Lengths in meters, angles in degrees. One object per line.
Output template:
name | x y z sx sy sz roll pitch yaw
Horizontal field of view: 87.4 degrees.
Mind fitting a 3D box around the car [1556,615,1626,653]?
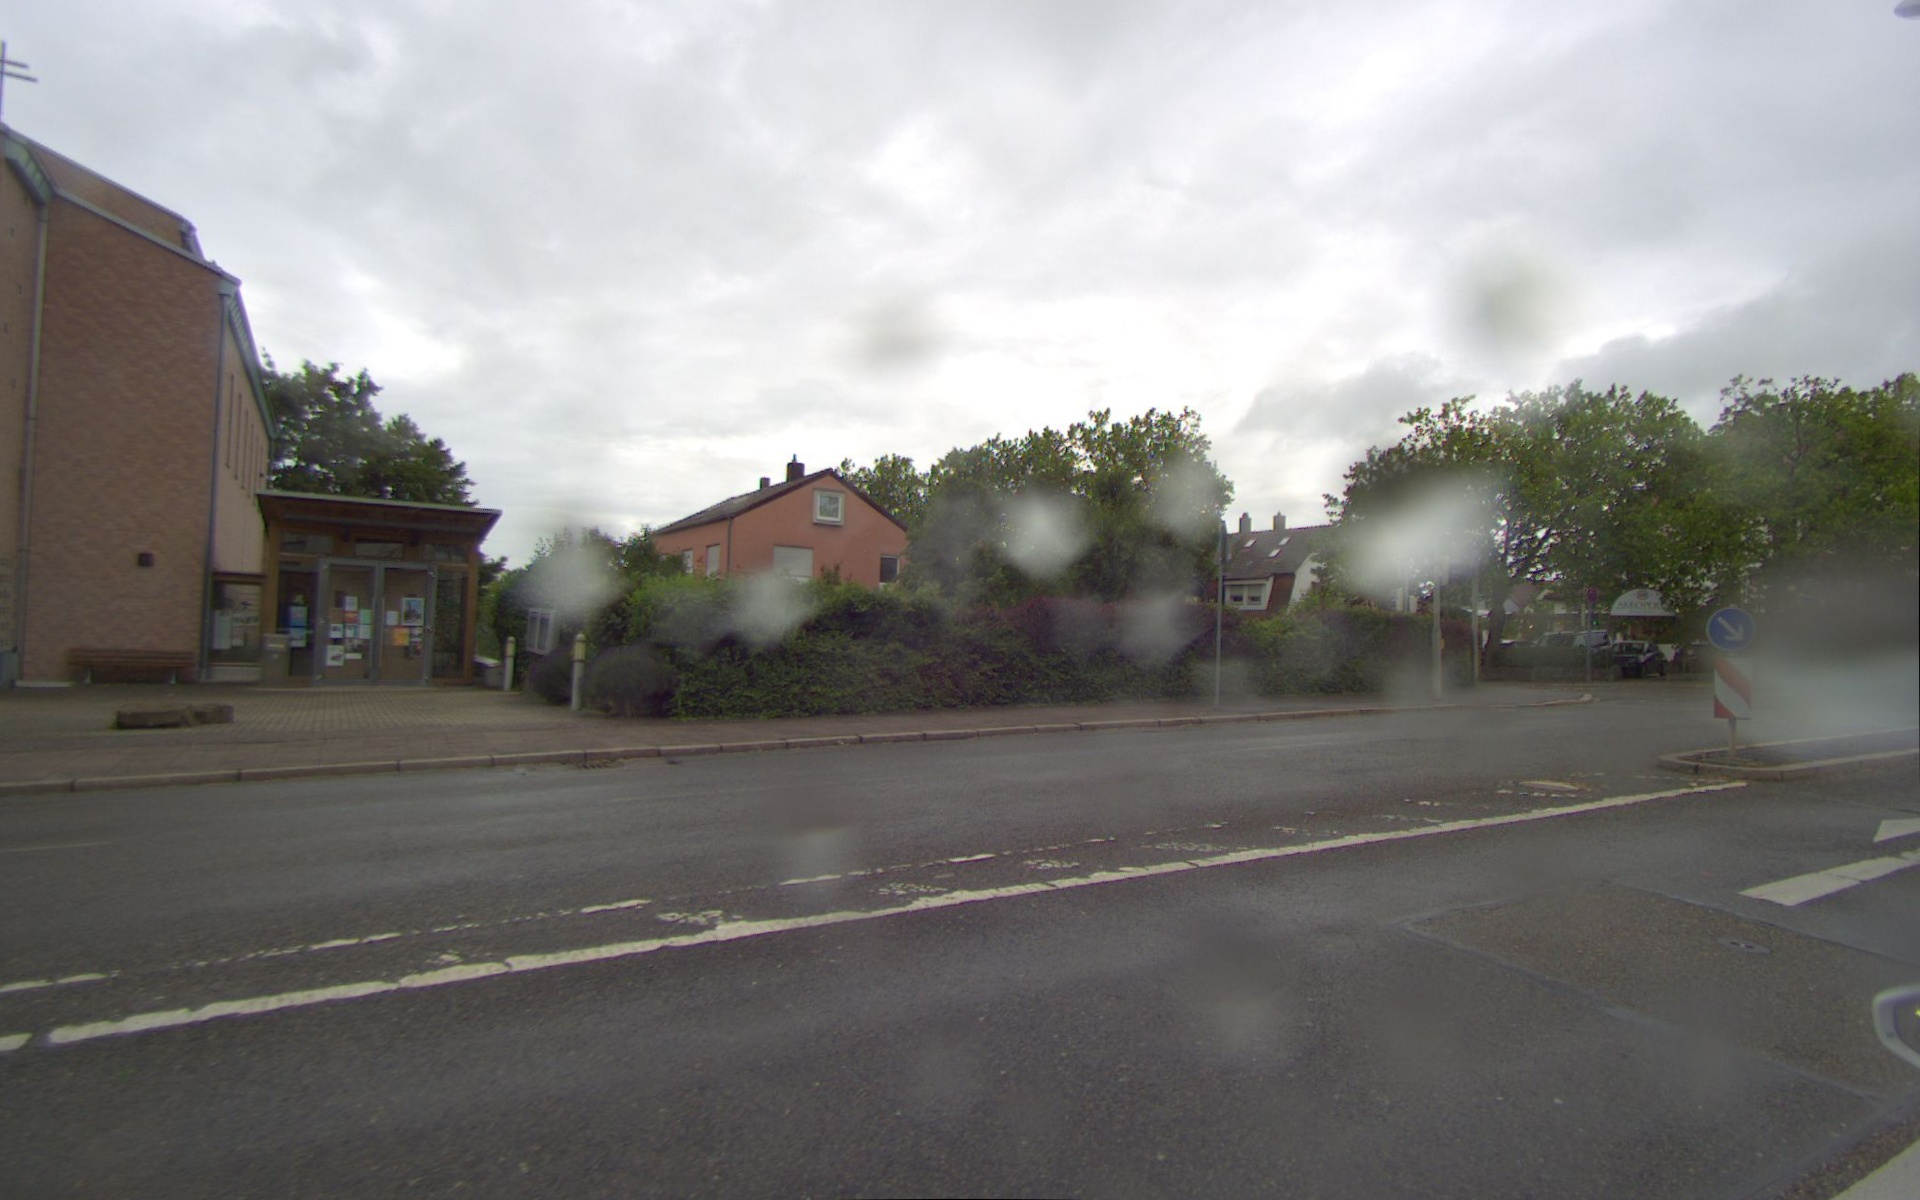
car | 36.247 1.958 57.678 3.959 2.040 1.981 2 0 -34

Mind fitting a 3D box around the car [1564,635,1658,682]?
car | 27.113 2.377 41.790 3.955 1.573 1.798 -2 2 -32

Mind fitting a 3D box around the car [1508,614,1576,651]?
car | 34.758 1.953 59.953 3.959 2.040 1.981 2 0 -34
